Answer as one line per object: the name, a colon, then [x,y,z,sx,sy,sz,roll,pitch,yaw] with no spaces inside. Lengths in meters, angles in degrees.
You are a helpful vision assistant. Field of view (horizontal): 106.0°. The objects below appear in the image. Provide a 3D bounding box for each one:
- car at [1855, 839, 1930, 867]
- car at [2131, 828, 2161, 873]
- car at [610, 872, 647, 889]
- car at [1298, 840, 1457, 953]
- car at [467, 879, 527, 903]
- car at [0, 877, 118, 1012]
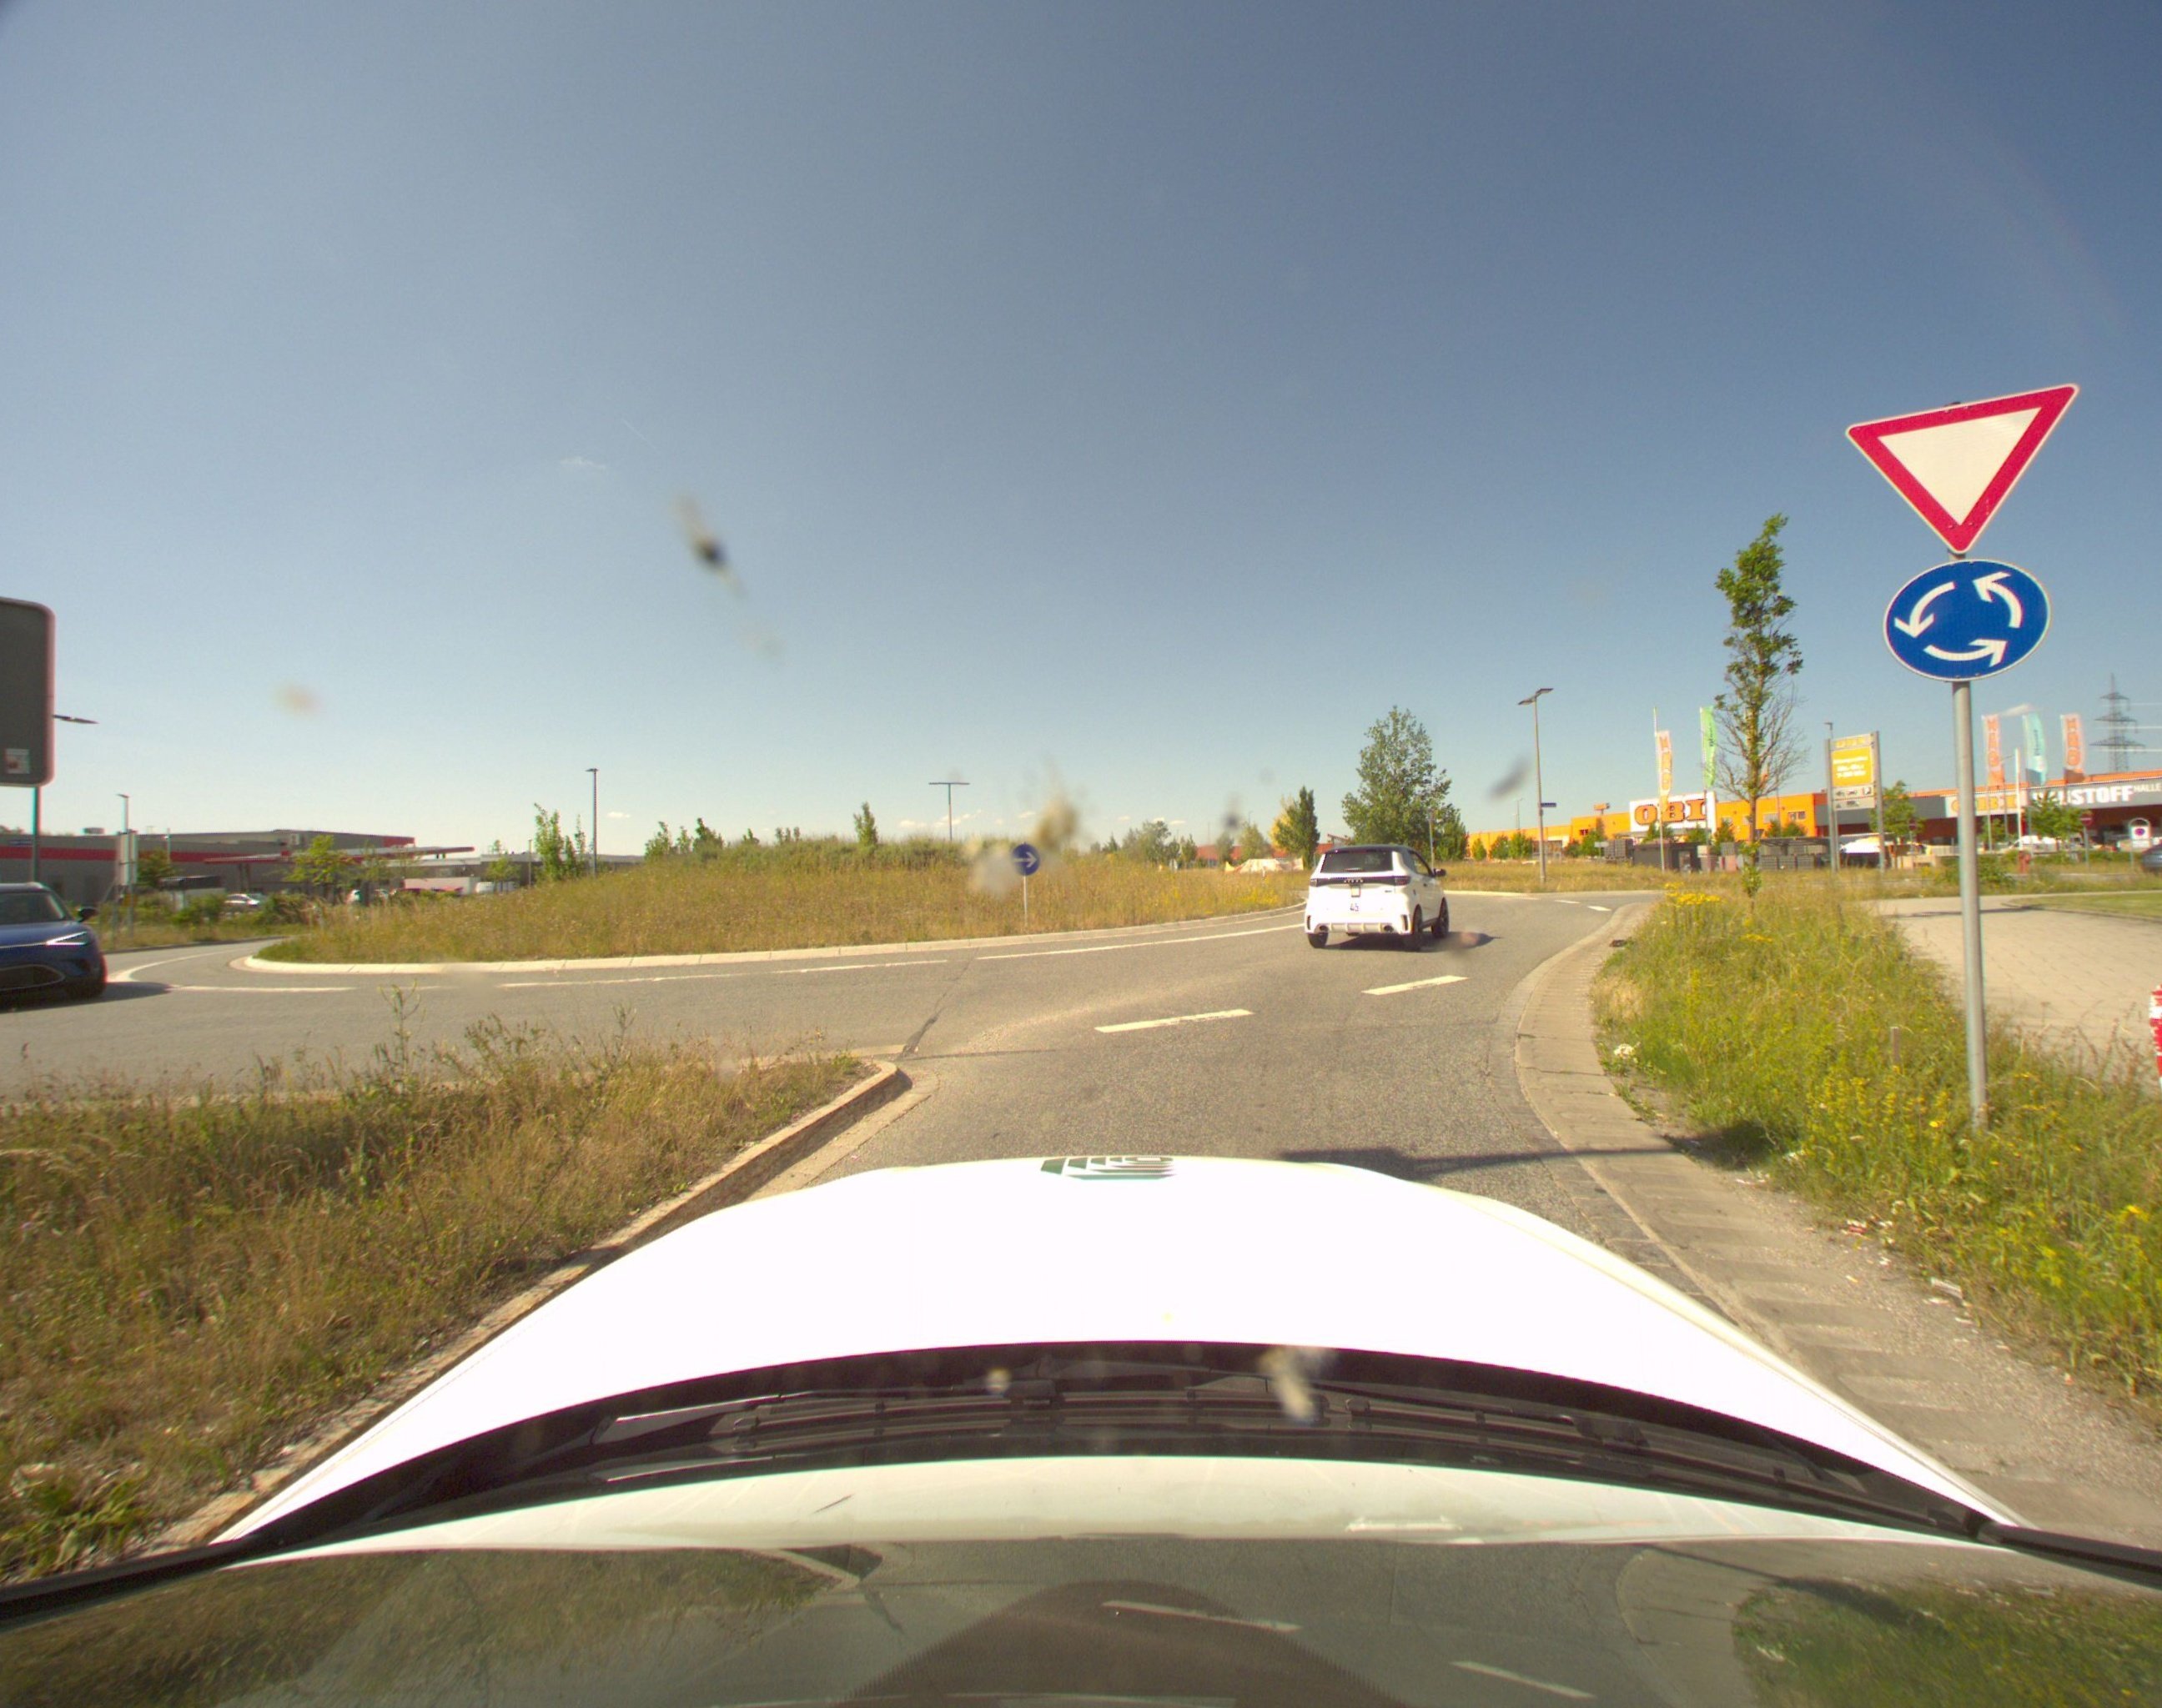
car: [55.063,-0.048,55.266,3.761,1.841,1.695,0,-2,-9]
car: [40.197,-0.183,28.794,4.148,1.584,1.828,-2,-2,-6]
car: [-48.570,2.862,87.508,1.990,1.732,3.993,-2,-2,-4]
car: [4.616,0.543,12.418,1.494,1.440,3.372,-1,1,34]
car: [-51.850,3.266,72.443,1.991,2.014,5.124,-2,-2,-6]
car: [-15.124,1.228,11.170,4.027,1.635,1.869,-3,0,32]
